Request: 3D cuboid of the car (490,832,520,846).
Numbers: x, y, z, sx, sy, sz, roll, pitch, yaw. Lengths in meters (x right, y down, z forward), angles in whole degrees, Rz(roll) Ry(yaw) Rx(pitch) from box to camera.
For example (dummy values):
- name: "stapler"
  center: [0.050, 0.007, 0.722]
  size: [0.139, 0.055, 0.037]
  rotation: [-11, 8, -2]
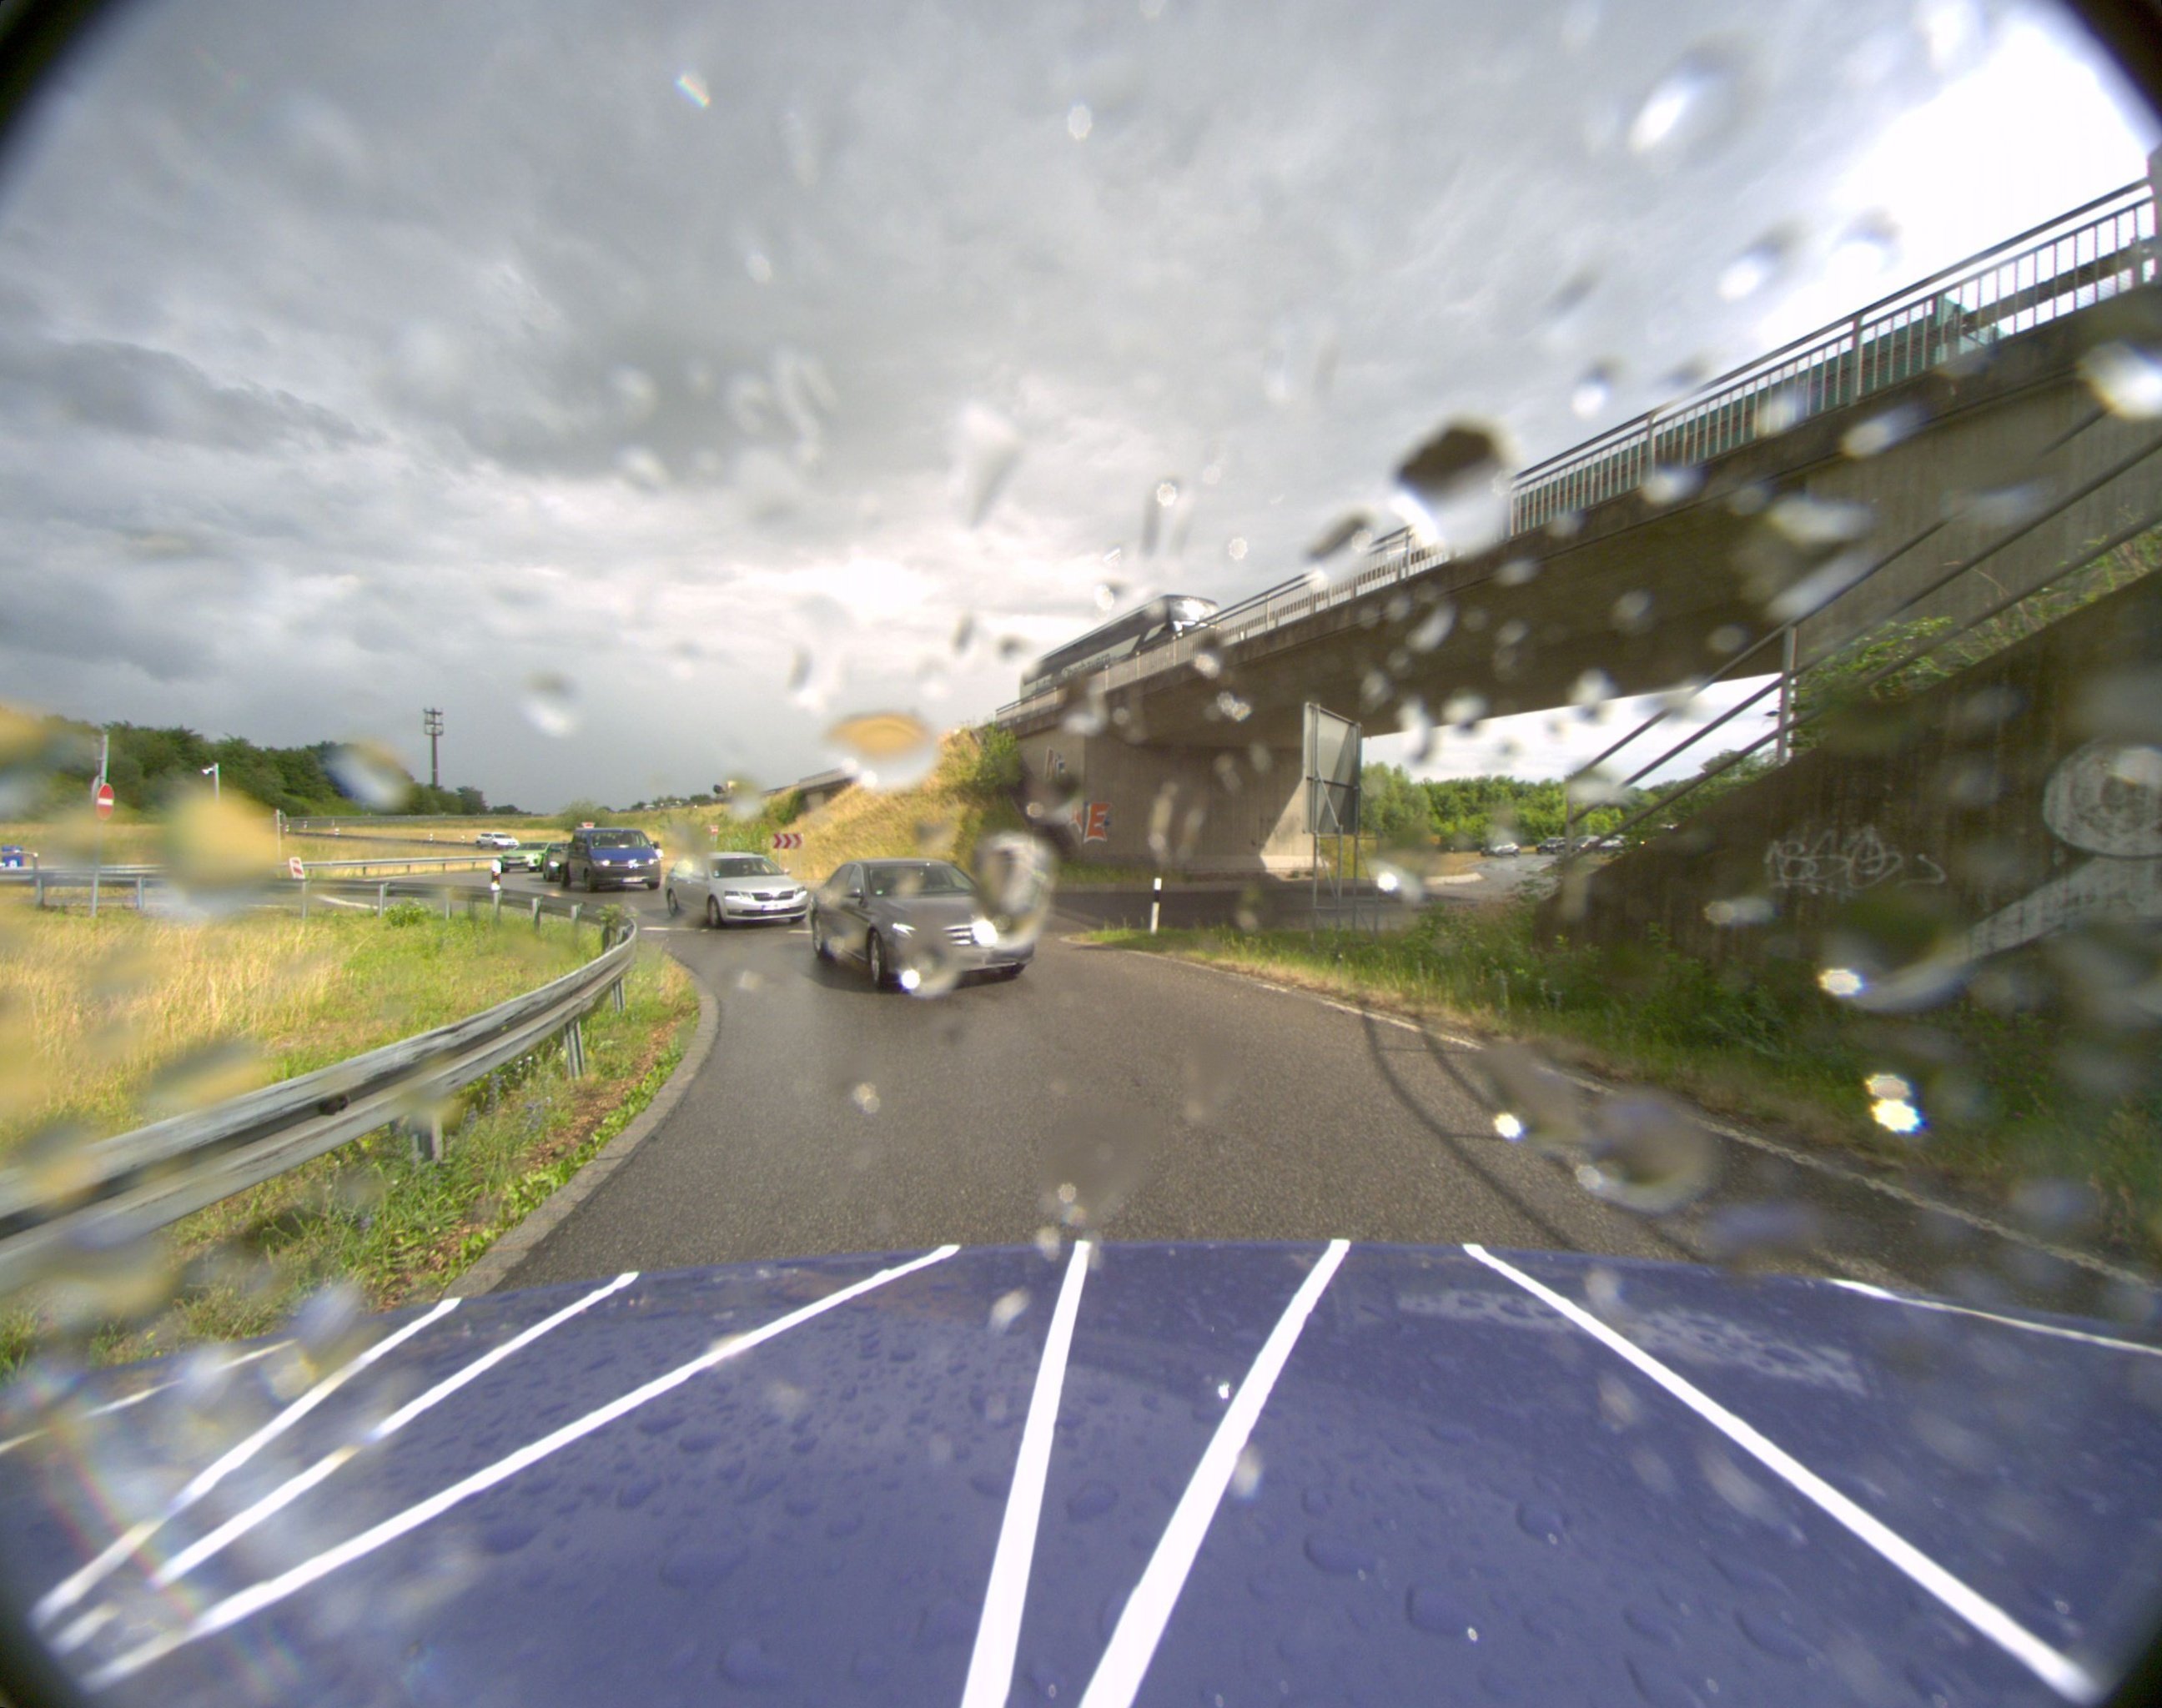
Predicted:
- name: "car"
  center: [-52.874, -1.389, 69.724]
  size: [1.715, 1.283, 3.762]
  rotation: [-1, 3, -44]

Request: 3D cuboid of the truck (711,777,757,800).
- name: "truck"
  center: [-54.281, -10.242, 118.799]
  size: [9.250, 3.177, 3.167]
  rotation: [2, 4, 43]

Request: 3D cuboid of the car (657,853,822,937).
- name: "car"
  center: [-7.274, 0.736, 15.955]
  size: [1.802, 1.391, 4.336]
  rotation: [-3, 3, -43]

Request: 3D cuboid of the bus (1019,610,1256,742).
- name: "bus"
  center: [1.579, -7.106, 32.891]
  size: [2.617, 3.063, 14.424]
  rotation: [-2, 3, -30]

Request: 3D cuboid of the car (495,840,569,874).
- name: "car"
  center: [-26.290, 0.103, 36.519]
  size: [1.619, 1.466, 3.840]
  rotation: [0, 2, -15]

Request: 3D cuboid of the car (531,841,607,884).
- name: "car"
  center: [-19.351, 0.278, 28.674]
  size: [1.661, 1.466, 3.834]
  rotation: [-2, 3, -45]

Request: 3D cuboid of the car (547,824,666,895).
- name: "car"
  center: [-15.107, 0.060, 24.025]
  size: [5.664, 1.904, 1.897]
  rotation: [3, 3, 44]

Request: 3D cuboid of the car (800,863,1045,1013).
- name: "car"
  center: [-2.360, 0.886, 10.184]
  size: [1.774, 1.383, 4.579]
  rotation: [-1, 2, -31]
